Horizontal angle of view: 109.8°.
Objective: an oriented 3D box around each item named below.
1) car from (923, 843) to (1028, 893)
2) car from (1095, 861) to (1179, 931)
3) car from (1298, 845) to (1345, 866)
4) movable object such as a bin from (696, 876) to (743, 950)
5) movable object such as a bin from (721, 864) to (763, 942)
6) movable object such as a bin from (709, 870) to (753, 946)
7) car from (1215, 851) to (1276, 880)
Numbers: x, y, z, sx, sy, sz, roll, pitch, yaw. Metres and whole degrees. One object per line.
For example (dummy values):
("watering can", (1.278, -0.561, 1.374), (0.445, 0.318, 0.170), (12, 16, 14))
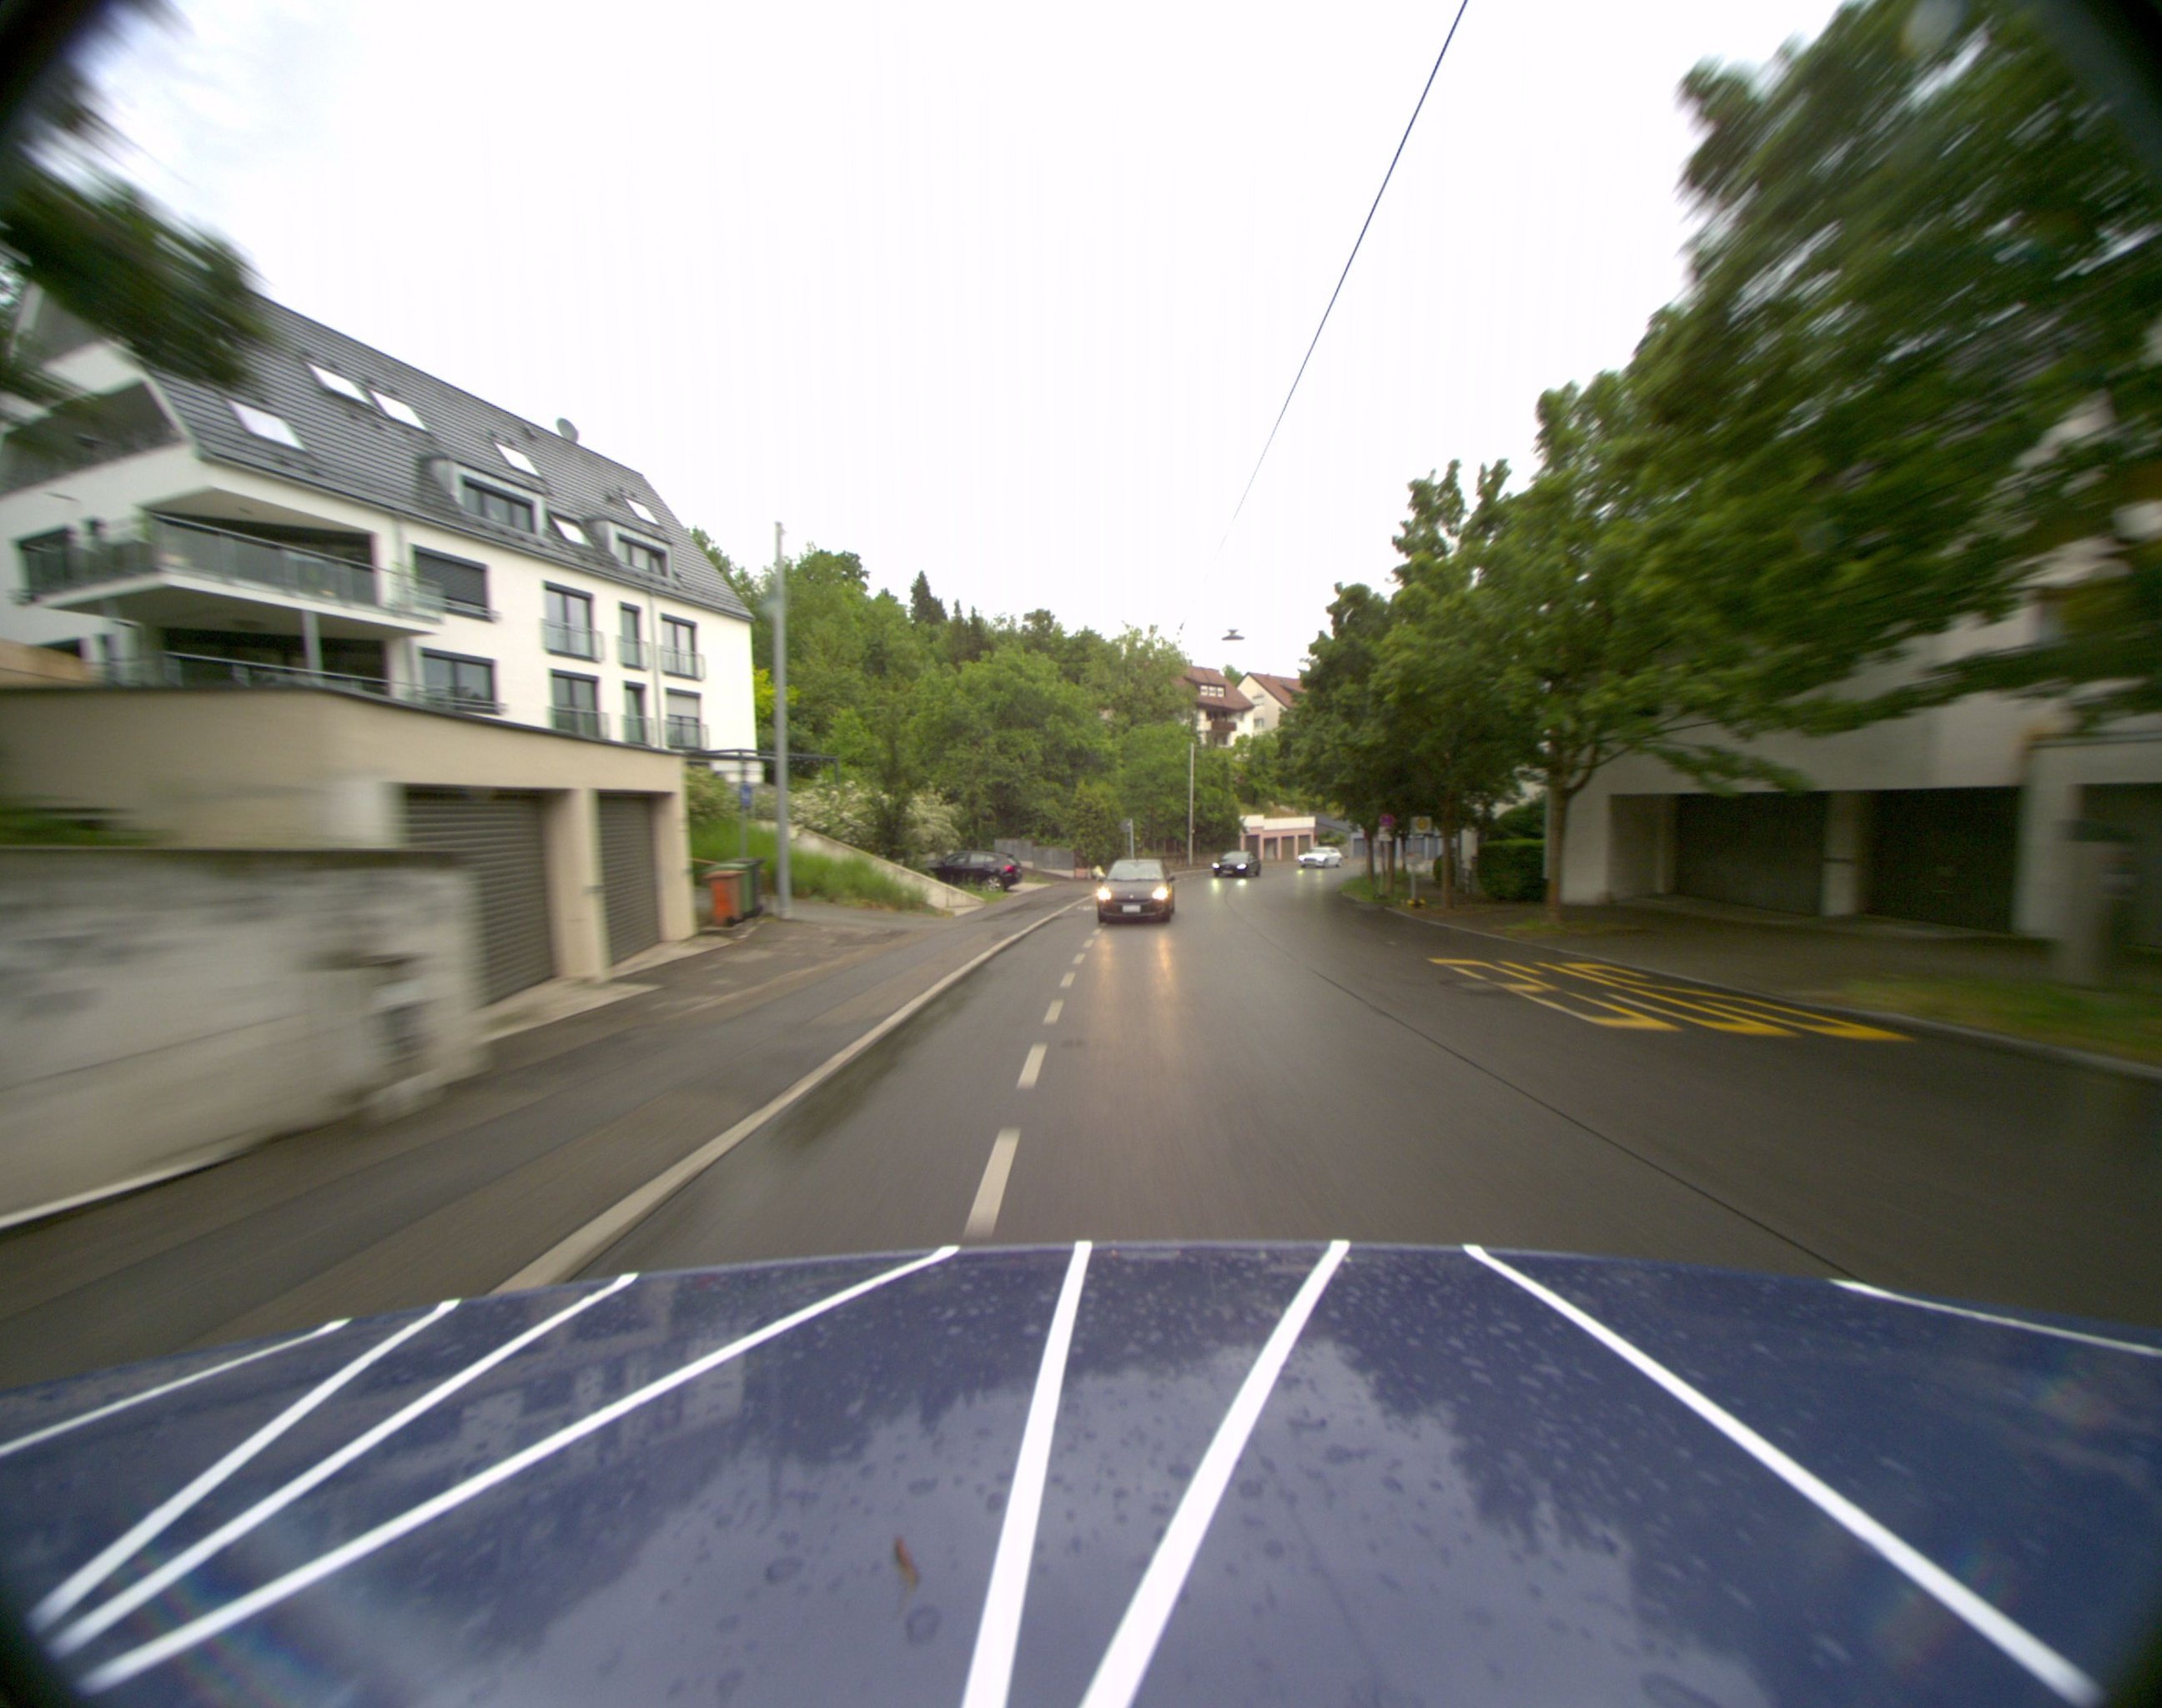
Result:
("car", (-3.782, 0.468, 27.613), (3.465, 1.623, 1.579), (2, 2, 6))
("car", (1.446, 0.919, 18.321), (1.576, 1.444, 3.590), (0, 1, 11))
("car", (19.054, 0.086, 60.181), (2.008, 1.652, 4.455), (1, 1, 40))
("movable object such as a bin", (-5.934, 0.960, 12.482), (0.575, 1.169, 0.443), (0, 1, -4))
("movable object such as a bin", (-6.006, 0.857, 13.487), (0.555, 1.343, 0.463), (0, 1, -4))
("movable object such as a bin", (-5.972, 0.916, 12.984), (0.564, 1.261, 0.453), (0, 1, -4))
("car", (9.225, 0.599, 42.390), (1.803, 1.480, 4.025), (0, 1, 36))
